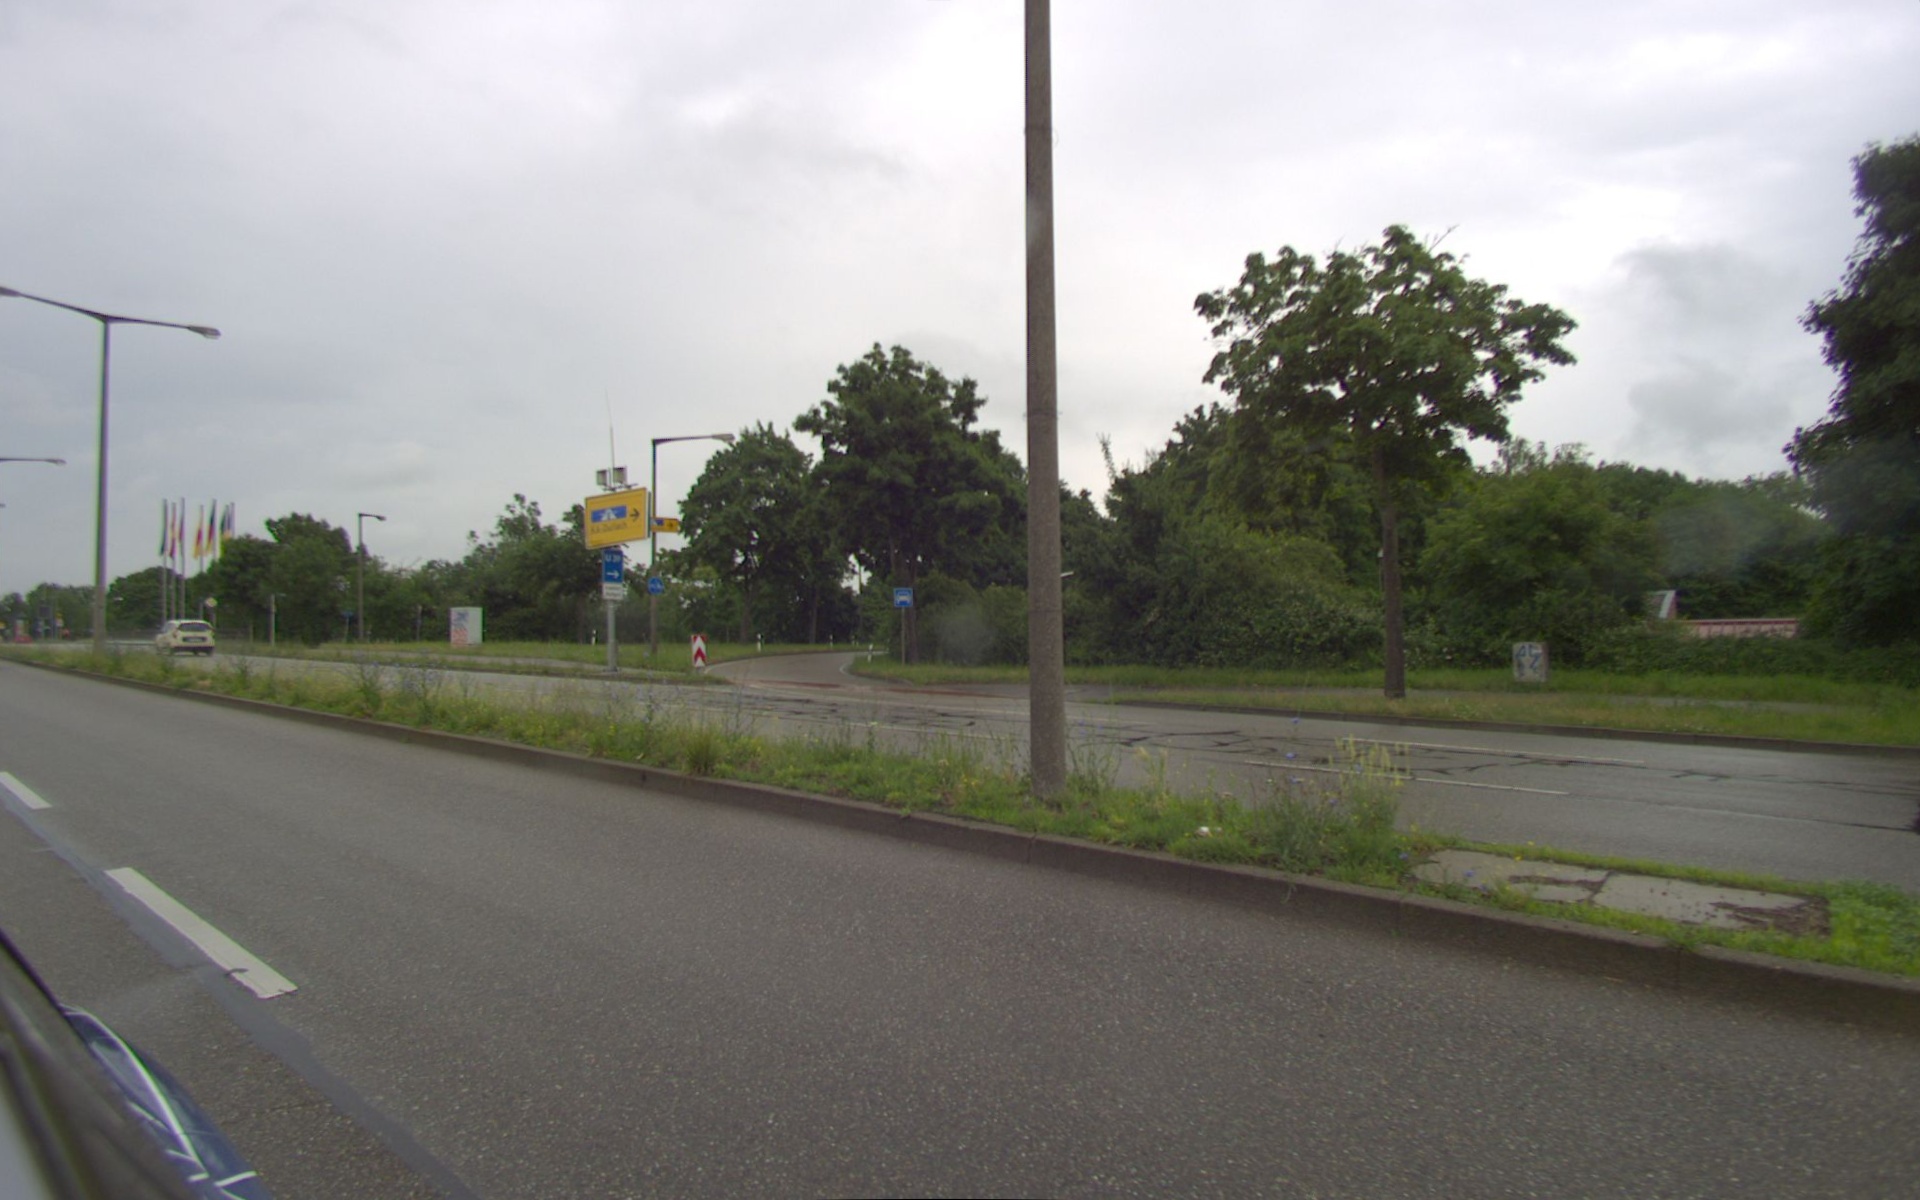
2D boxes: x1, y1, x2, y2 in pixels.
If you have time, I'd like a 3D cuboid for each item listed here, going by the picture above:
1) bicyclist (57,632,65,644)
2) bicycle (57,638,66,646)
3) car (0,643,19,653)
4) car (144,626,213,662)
[{"bbox_3d":[-113.697,4.830,128.038,1.003,1.511,0.613,-2,0,42],"label":"bicyclist"},{"bbox_3d":[-113.689,5.286,128.021,2.000,1.041,0.603,-2,0,42],"label":"bicycle"},{"bbox_3d":[-132.715,6.691,141.227,3.556,1.459,1.643,-2,-4,42],"label":"car"},{"bbox_3d":[-37.345,2.100,48.347,4.489,1.642,1.689,-2,-4,41],"label":"car"}]
